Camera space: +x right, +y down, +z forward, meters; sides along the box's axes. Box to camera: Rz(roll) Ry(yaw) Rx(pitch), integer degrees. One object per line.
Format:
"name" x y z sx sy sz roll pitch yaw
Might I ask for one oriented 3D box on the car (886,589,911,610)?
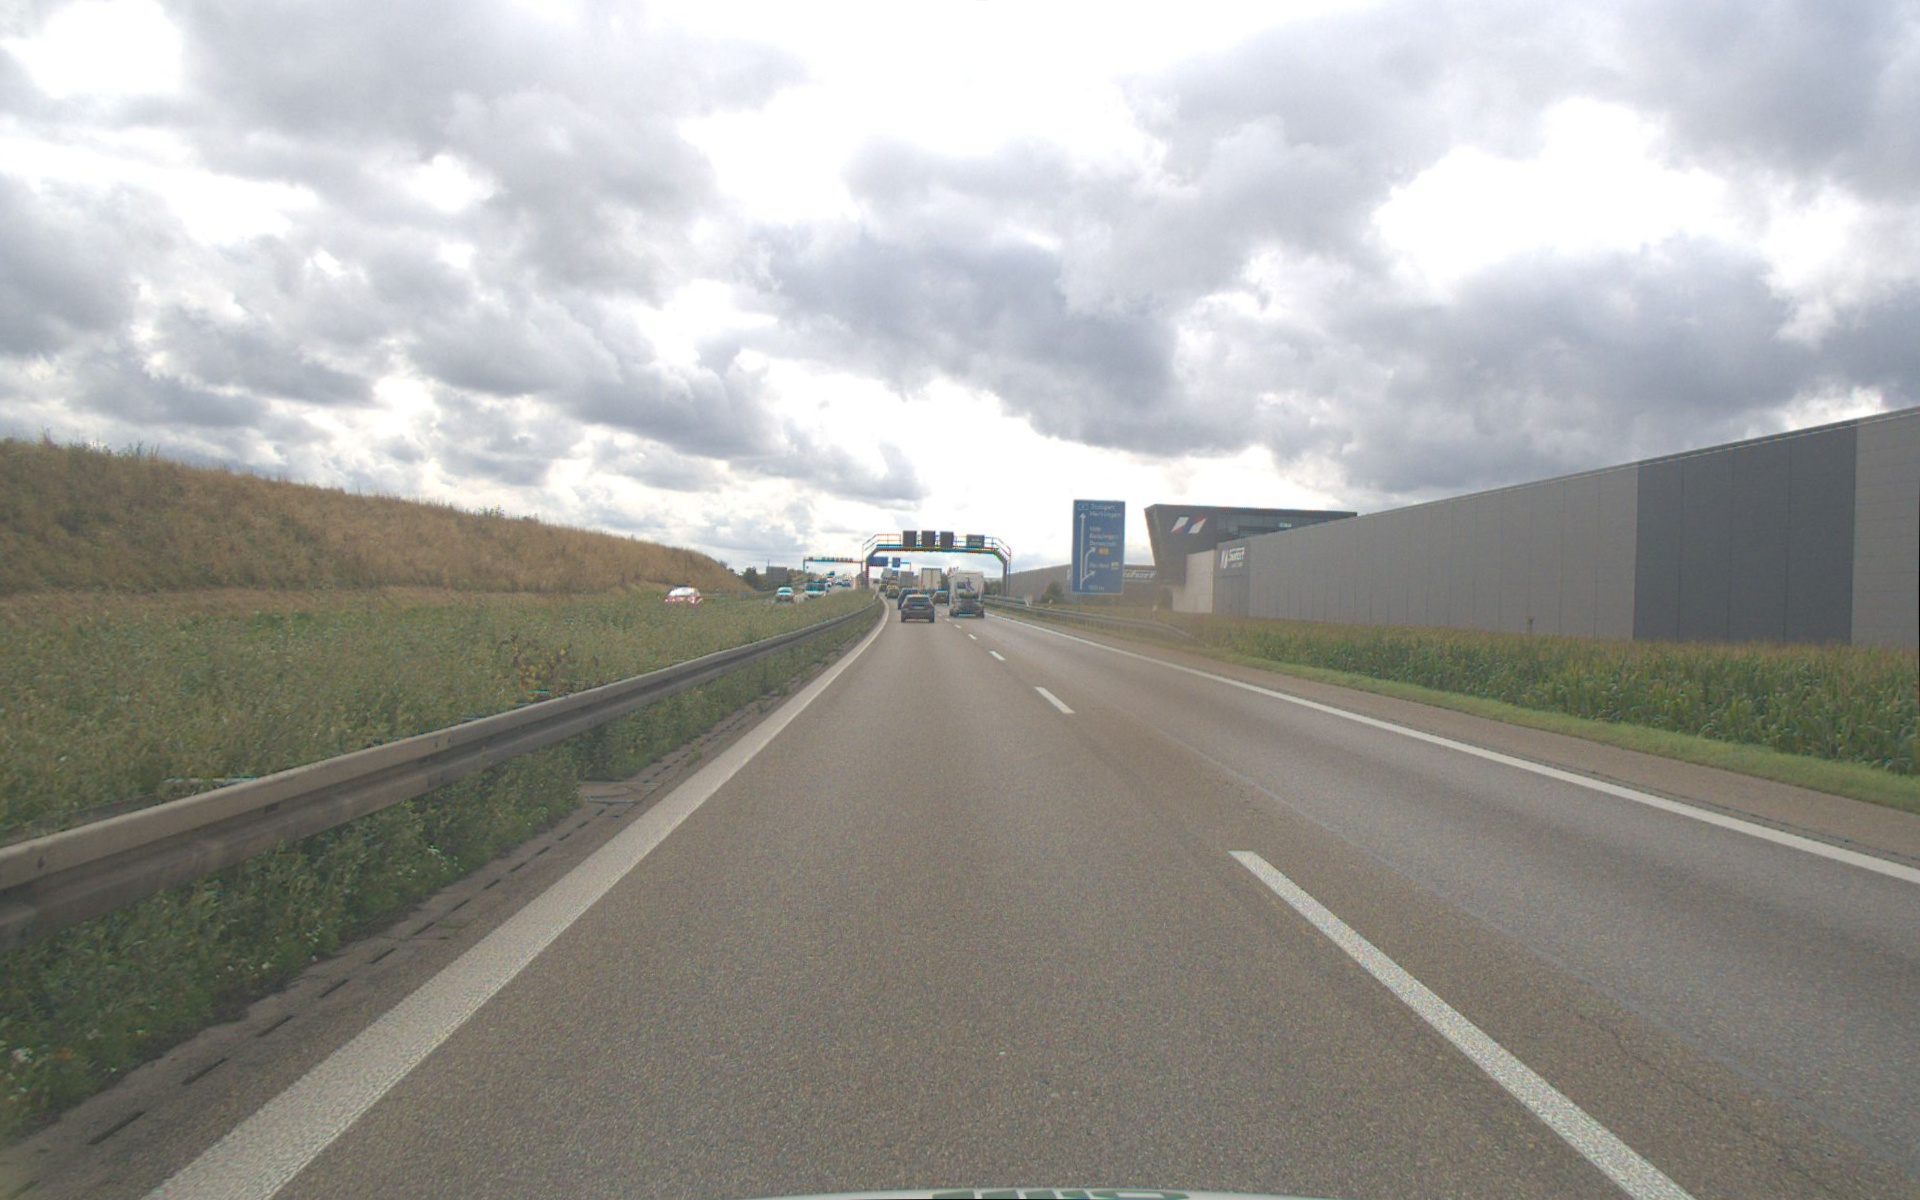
"car" -5.136 -0.054 138.777 1.906 1.714 3.999 1 0 -1

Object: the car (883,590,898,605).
"car" -9.039 -0.302 215.756 1.904 1.806 3.695 1 0 -1

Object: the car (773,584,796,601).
"car" -16.290 -0.662 153.635 1.736 1.479 3.999 1 0 -1

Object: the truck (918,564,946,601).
"truck" -3.687 -2.183 214.046 3.273 4.613 8.012 1 0 -3

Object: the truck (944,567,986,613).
"truck" 0.295 -0.656 111.149 2.432 3.002 5.811 1 0 -3

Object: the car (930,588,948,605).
"car" -2.125 -0.375 169.022 1.764 1.714 3.999 1 0 -1

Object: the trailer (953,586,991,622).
"trailer" 0.729 0.264 104.358 2.291 2.173 3.999 1 0 -1

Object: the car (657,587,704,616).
"car" -14.115 0.083 83.827 1.689 1.428 4.341 1 0 -1

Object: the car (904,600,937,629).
"car" -2.082 0.776 87.958 1.711 1.478 3.999 1 0 -1

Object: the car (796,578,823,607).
"car" -12.776 -0.637 140.724 1.953 2.389 5.868 1 0 -2
